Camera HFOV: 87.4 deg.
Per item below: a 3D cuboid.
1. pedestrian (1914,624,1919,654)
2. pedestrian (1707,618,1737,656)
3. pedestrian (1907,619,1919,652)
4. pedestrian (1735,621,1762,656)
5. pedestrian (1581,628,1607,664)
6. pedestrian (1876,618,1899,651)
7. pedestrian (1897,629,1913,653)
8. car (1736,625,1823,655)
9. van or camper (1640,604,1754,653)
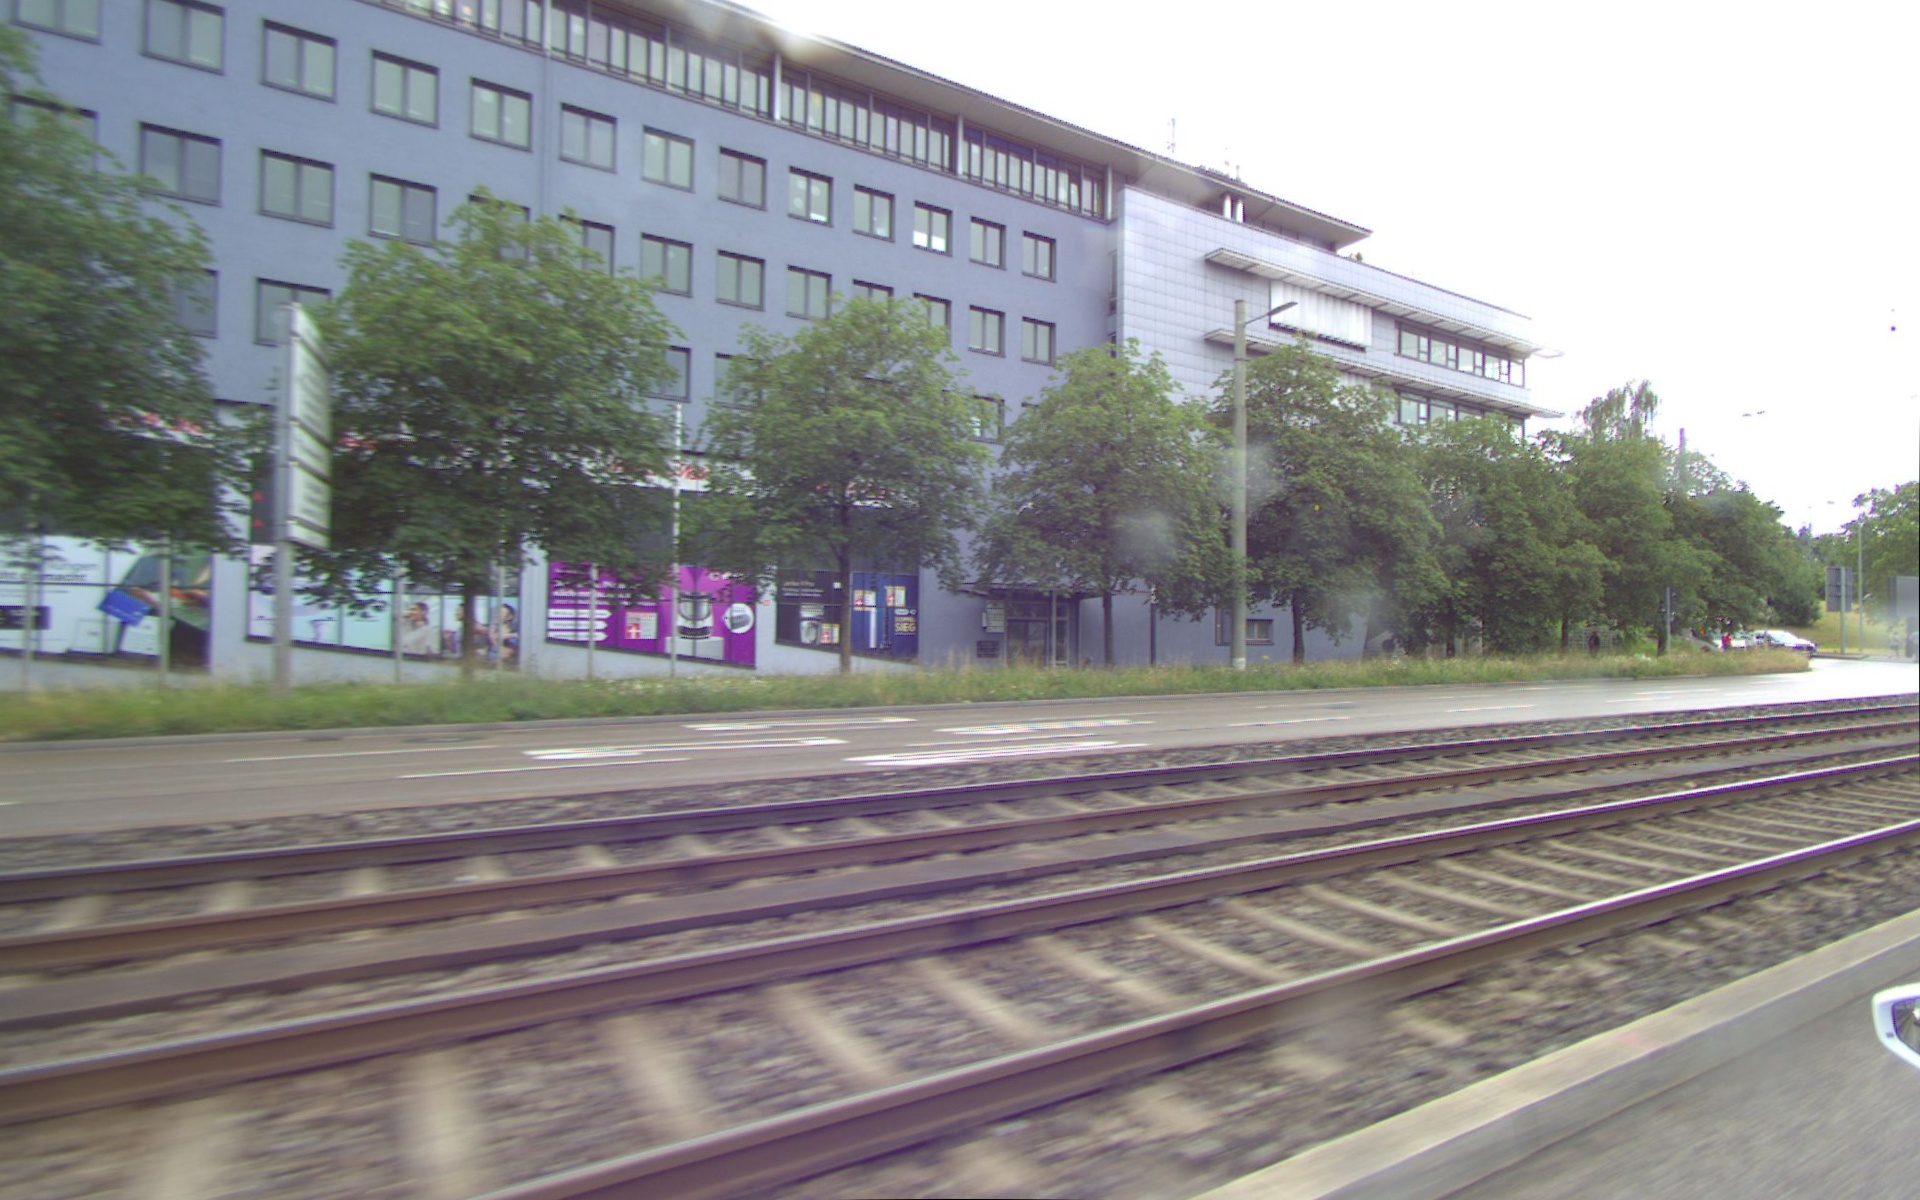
[{"bbox_3d":[58.598,2.363,61.113,0.821,1.811,0.504,1,1,-26],"label":"pedestrian"},{"bbox_3d":[42.213,2.047,55.654,0.927,2.040,0.889,0,-1,-3],"label":"pedestrian"},{"bbox_3d":[58.513,2.179,61.503,0.712,1.982,0.494,1,1,-27],"label":"pedestrian"},{"bbox_3d":[43.099,2.091,54.894,0.935,1.892,0.635,0,-1,-4],"label":"pedestrian"},{"bbox_3d":[32.158,2.329,50.973,0.866,1.779,0.722,1,1,-28],"label":"pedestrian"},{"bbox_3d":[58.973,2.198,63.855,0.857,2.040,0.881,1,-1,-35],"label":"pedestrian"},{"bbox_3d":[59.488,2.554,63.229,0.713,1.493,0.493,1,1,-29],"label":"pedestrian"},{"bbox_3d":[52.312,2.508,64.267,1.960,1.755,4.633,0,0,3],"label":"car"},{"bbox_3d":[47.930,1.801,65.634,2.441,3.006,7.378,0,-1,4],"label":"van or camper"}]
